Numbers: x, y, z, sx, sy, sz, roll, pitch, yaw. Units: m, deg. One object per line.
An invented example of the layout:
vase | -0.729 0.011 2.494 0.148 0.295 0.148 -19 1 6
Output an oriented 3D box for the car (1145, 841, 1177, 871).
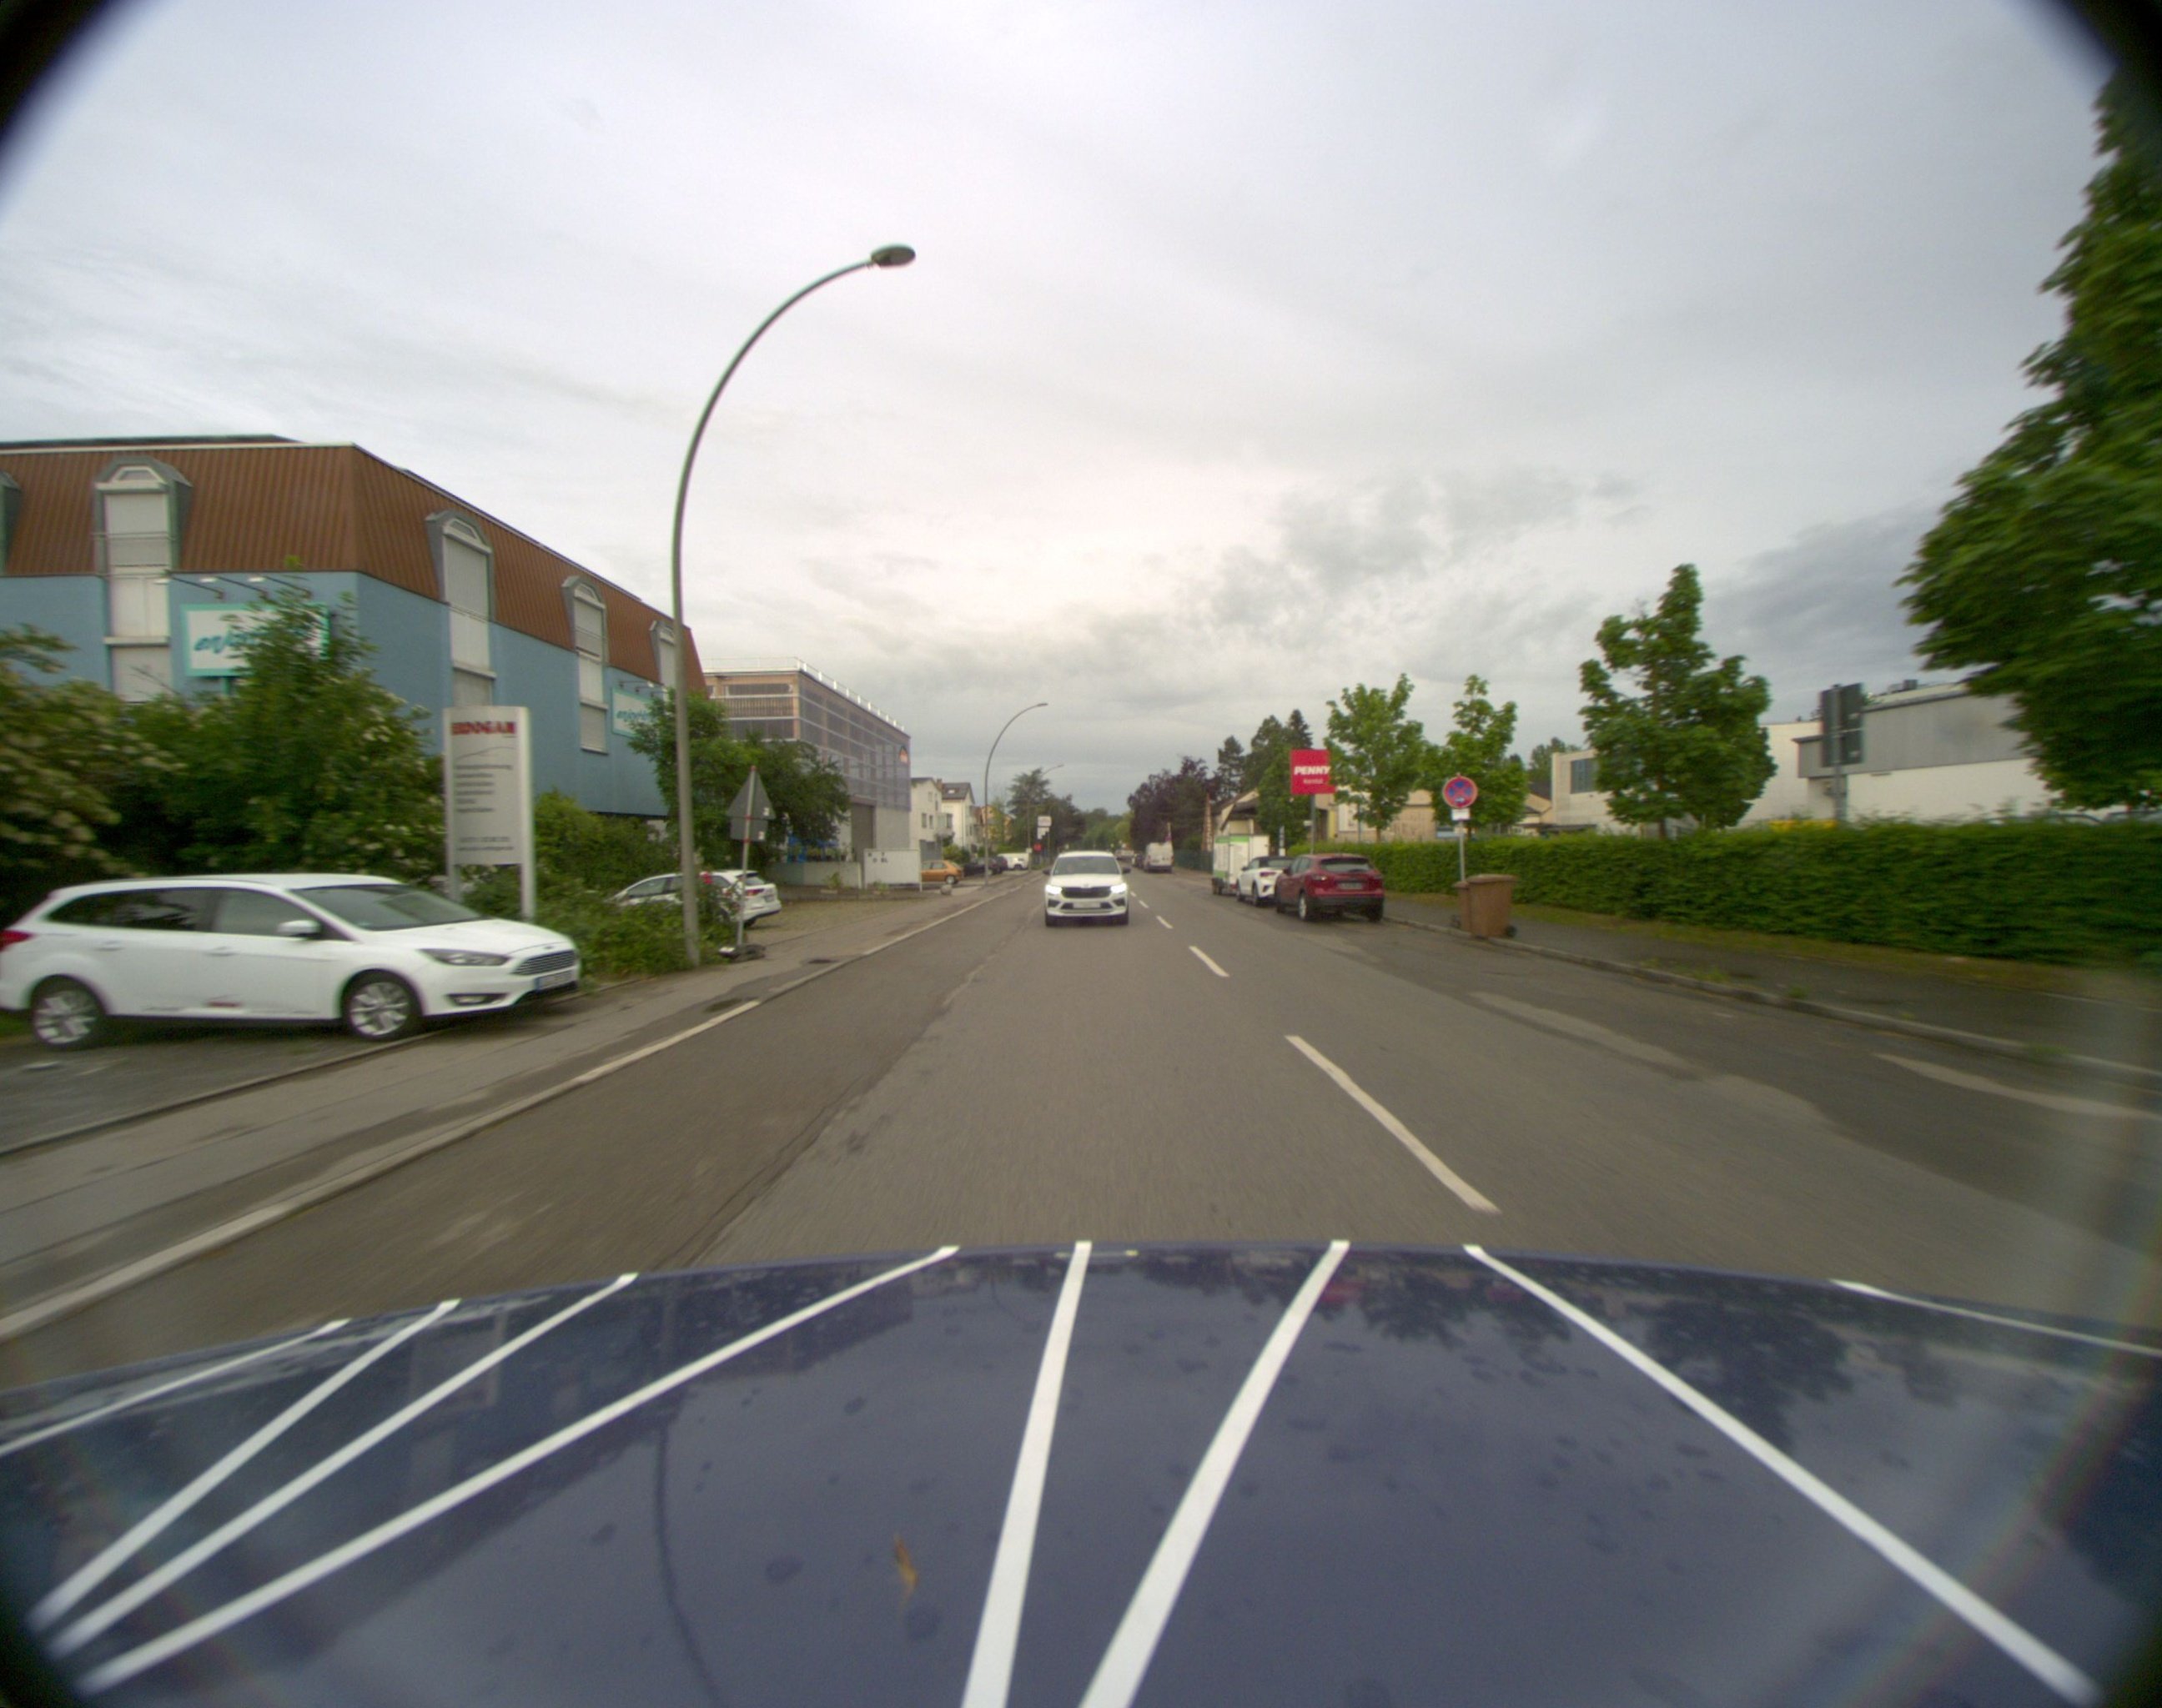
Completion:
car | 6.887 0.126 66.275 2.163 2.413 6.459 1 1 1

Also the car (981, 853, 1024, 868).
car | -8.449 0.724 82.130 4.331 1.371 1.850 -3 1 0

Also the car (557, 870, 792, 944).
car | -9.405 1.201 17.858 4.427 1.384 1.880 -3 0 -1

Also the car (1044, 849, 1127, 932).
car | 0.046 0.769 18.141 1.692 1.651 3.999 -3 1 -1

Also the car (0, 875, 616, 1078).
car | -7.255 1.055 7.280 4.349 1.467 1.902 -2 1 0

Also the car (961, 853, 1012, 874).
car | -8.437 0.863 68.301 4.237 1.665 1.980 -3 1 0

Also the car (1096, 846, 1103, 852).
car | 5.242 -1.374 214.587 1.898 1.678 4.230 0 1 1

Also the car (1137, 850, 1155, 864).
car | 7.481 0.324 87.626 1.665 1.575 3.915 0 1 0

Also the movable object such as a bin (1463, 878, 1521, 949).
movable object such as a bin | 7.135 1.025 13.207 0.674 1.151 0.621 -2 1 5

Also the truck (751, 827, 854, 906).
truck | -14.513 0.627 39.853 4.155 3.652 2.719 -5 1 -2

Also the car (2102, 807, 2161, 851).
car | 41.964 -1.017 28.983 3.735 1.597 1.659 -3 1 2

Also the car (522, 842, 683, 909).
car | -14.042 0.549 22.679 1.999 1.730 4.428 -3 1 -2

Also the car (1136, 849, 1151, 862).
car | 7.579 0.157 93.058 1.620 1.500 3.660 0 1 1

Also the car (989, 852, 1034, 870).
car | -7.205 0.721 79.253 4.456 1.615 1.893 -3 1 0

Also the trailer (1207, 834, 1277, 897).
trailer | 6.344 0.405 30.474 1.817 2.300 4.730 1 0 0

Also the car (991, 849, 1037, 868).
car | -7.419 0.497 84.522 4.743 1.875 2.000 -3 1 1

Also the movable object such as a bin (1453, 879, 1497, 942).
movable object such as a bin | 7.172 1.017 13.854 0.492 1.076 0.621 -2 1 5

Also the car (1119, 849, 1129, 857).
car | 8.237 -0.276 145.233 1.821 1.419 4.980 0 1 1

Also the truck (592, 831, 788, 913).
truck | -20.281 0.895 39.747 8.557 3.686 2.721 -3 1 -1

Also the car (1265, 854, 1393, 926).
car | 6.075 0.804 19.143 1.810 1.564 4.342 -1 0 0

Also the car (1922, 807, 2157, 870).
car | 24.554 -0.394 19.561 3.988 1.379 1.802 -3 1 -4

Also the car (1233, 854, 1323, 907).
car | 6.131 0.780 24.172 1.777 1.490 4.137 -1 0 0

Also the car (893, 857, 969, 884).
car | -8.544 0.927 43.486 3.997 1.422 1.630 -2 1 -1

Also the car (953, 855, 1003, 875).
car | -8.892 0.951 65.807 3.975 1.481 1.833 -2 1 2

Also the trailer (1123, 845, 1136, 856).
trailer | 7.902 -0.562 124.614 1.934 1.755 4.548 -2 1 1

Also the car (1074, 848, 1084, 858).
car | -0.426 -0.181 152.297 1.736 1.817 5.553 -4 1 2

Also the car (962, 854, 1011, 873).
car | -8.808 0.859 71.040 4.253 1.527 1.811 -3 1 1

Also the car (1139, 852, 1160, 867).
car | 7.047 0.513 78.285 1.665 1.440 4.316 0 1 -1

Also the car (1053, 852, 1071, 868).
car | -1.950 0.606 79.630 1.743 1.458 4.545 -3 1 0

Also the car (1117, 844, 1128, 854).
car | 8.250 -0.964 150.657 1.898 1.881 5.209 0 1 1
